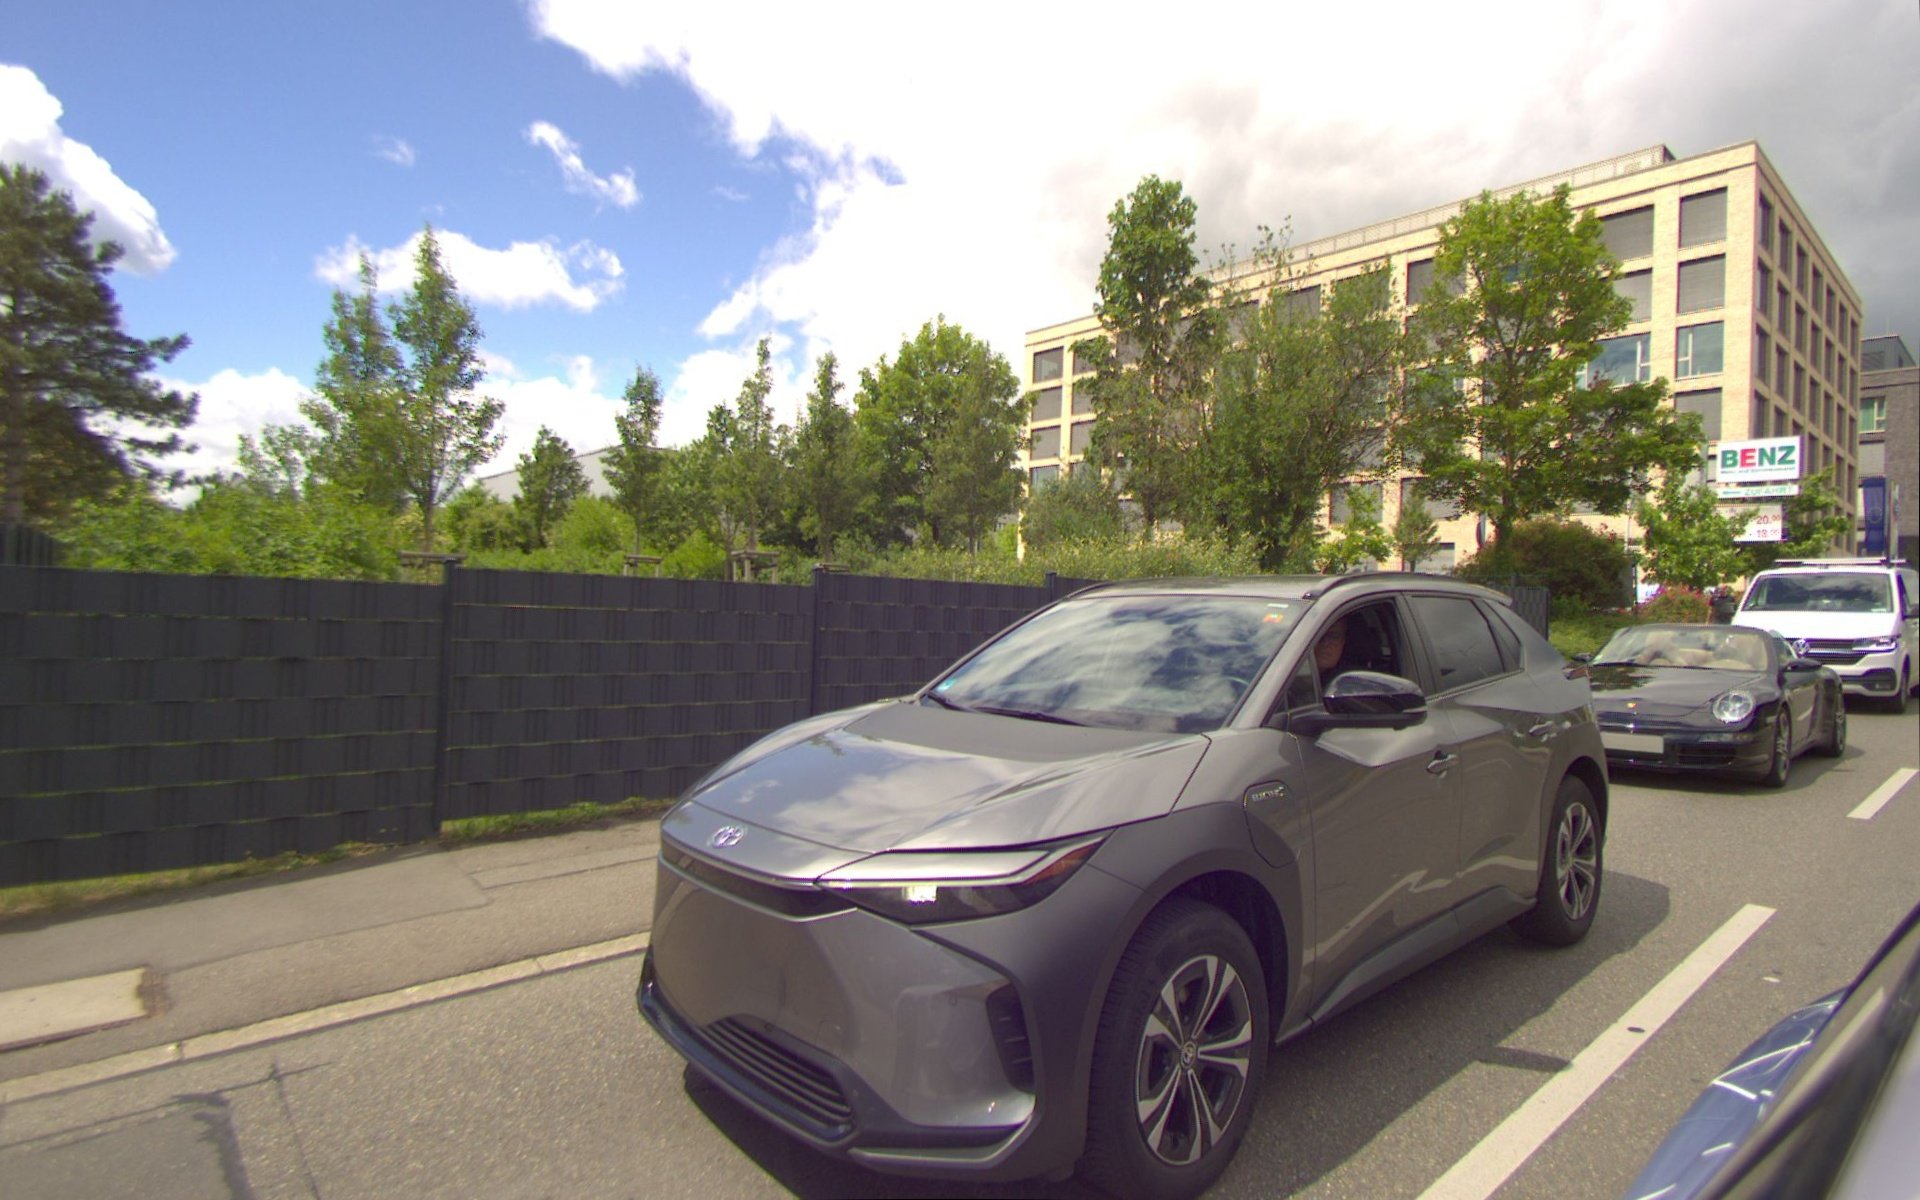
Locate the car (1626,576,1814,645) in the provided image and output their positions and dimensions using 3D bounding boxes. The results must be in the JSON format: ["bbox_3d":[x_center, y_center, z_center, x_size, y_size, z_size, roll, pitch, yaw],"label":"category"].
[{"bbox_3d":[21.286,0.221,28.453,1.793,1.754,3.991,-1,2,-44],"label":"car"}]

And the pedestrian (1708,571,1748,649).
[{"bbox_3d":[17.308,0.209,22.810,0.544,1.741,0.602,0,1,-40],"label":"pedestrian"}]

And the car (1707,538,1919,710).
[{"bbox_3d":[12.623,0.260,14.524,4.677,2.075,2.087,-1,0,-41],"label":"car"}]

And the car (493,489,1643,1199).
[{"bbox_3d":[0.840,0.593,3.970,4.501,1.649,1.997,-1,1,-42],"label":"car"}]

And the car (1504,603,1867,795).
[{"bbox_3d":[6.717,0.708,9.218,3.968,1.310,1.823,-1,1,-41],"label":"car"}]

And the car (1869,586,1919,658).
[{"bbox_3d":[21.494,0.449,22.206,3.930,1.481,1.817,-1,2,-41],"label":"car"}]
